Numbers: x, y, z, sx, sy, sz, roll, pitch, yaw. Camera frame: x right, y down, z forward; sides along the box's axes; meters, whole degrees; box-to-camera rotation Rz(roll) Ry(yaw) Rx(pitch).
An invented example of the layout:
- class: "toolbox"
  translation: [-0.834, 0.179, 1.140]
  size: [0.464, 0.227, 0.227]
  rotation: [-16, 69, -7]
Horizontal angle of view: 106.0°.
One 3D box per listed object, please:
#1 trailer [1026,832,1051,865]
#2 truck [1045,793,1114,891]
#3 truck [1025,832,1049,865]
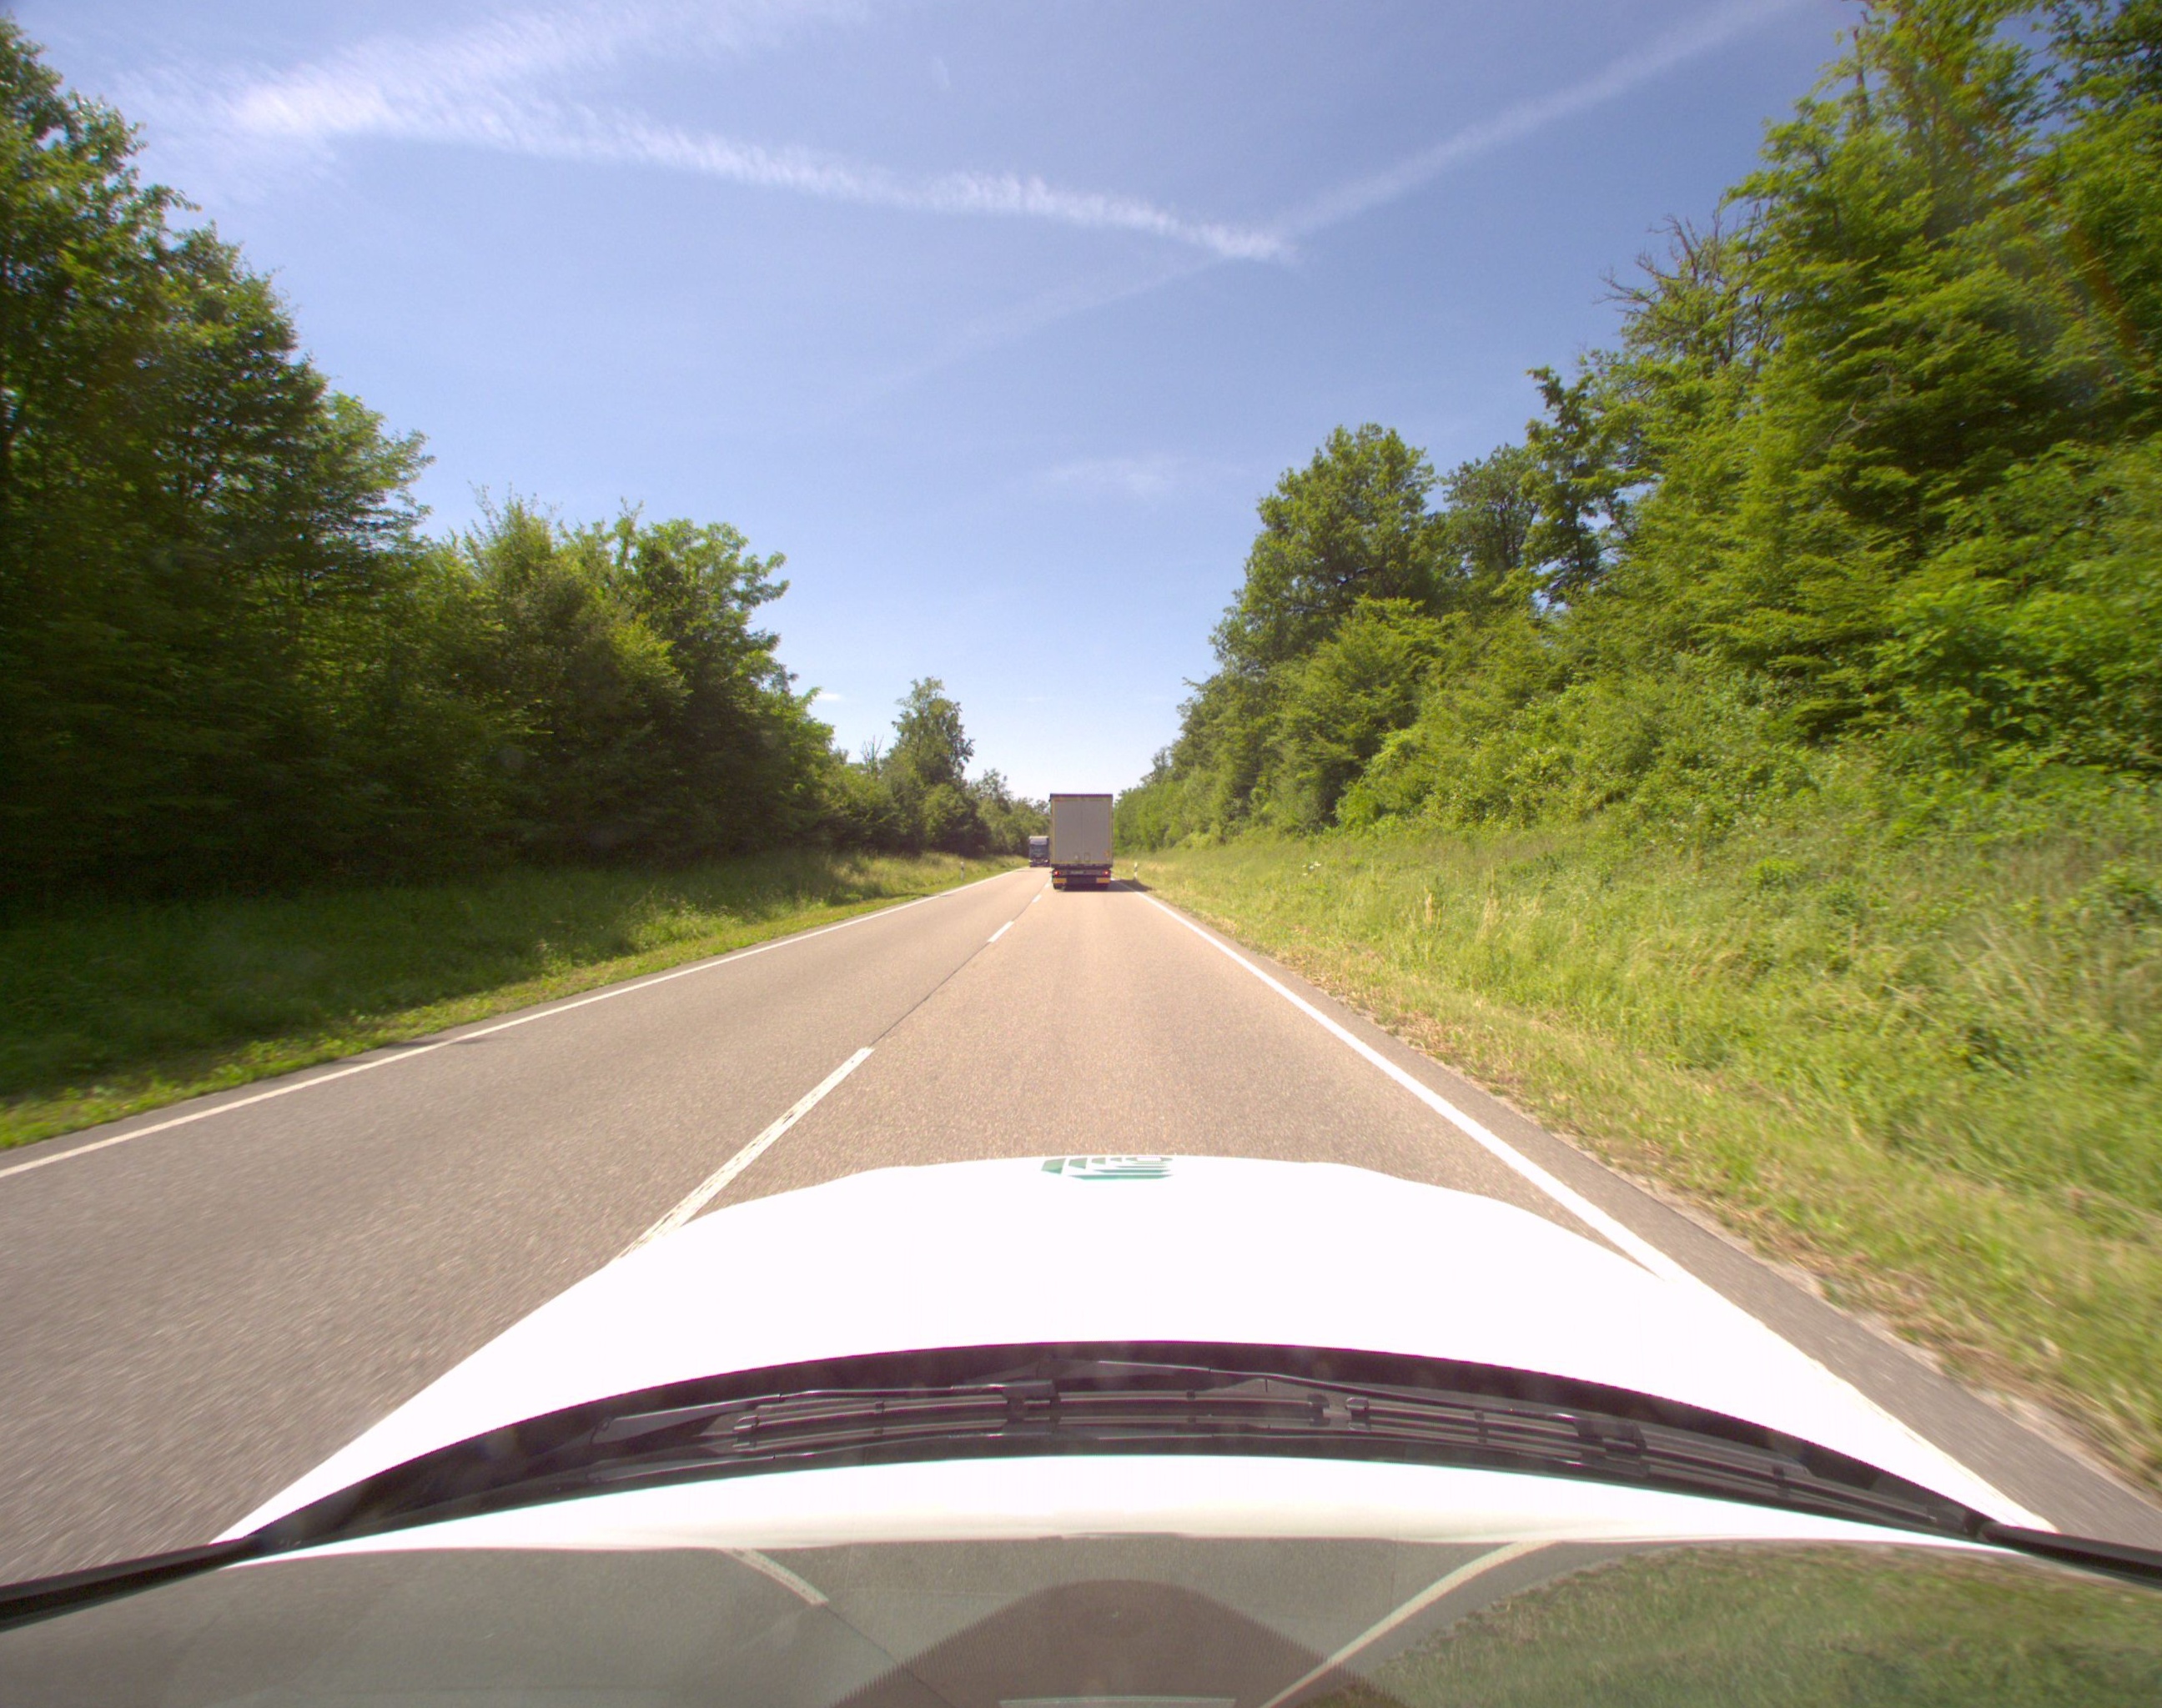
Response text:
- class: "trailer"
  translation: [-5.908, -0.755, 115.235]
  size: [2.933, 4.252, 13.612]
  rotation: [-1, 0, -1]
- class: "truck"
  translation: [-0.122, -0.514, 39.046]
  size: [2.753, 3.947, 12.192]
  rotation: [-1, 0, -1]
- class: "truck"
  translation: [-5.771, -0.755, 108.347]
  size: [2.914, 4.216, 5.340]
  rotation: [-1, 0, -1]
